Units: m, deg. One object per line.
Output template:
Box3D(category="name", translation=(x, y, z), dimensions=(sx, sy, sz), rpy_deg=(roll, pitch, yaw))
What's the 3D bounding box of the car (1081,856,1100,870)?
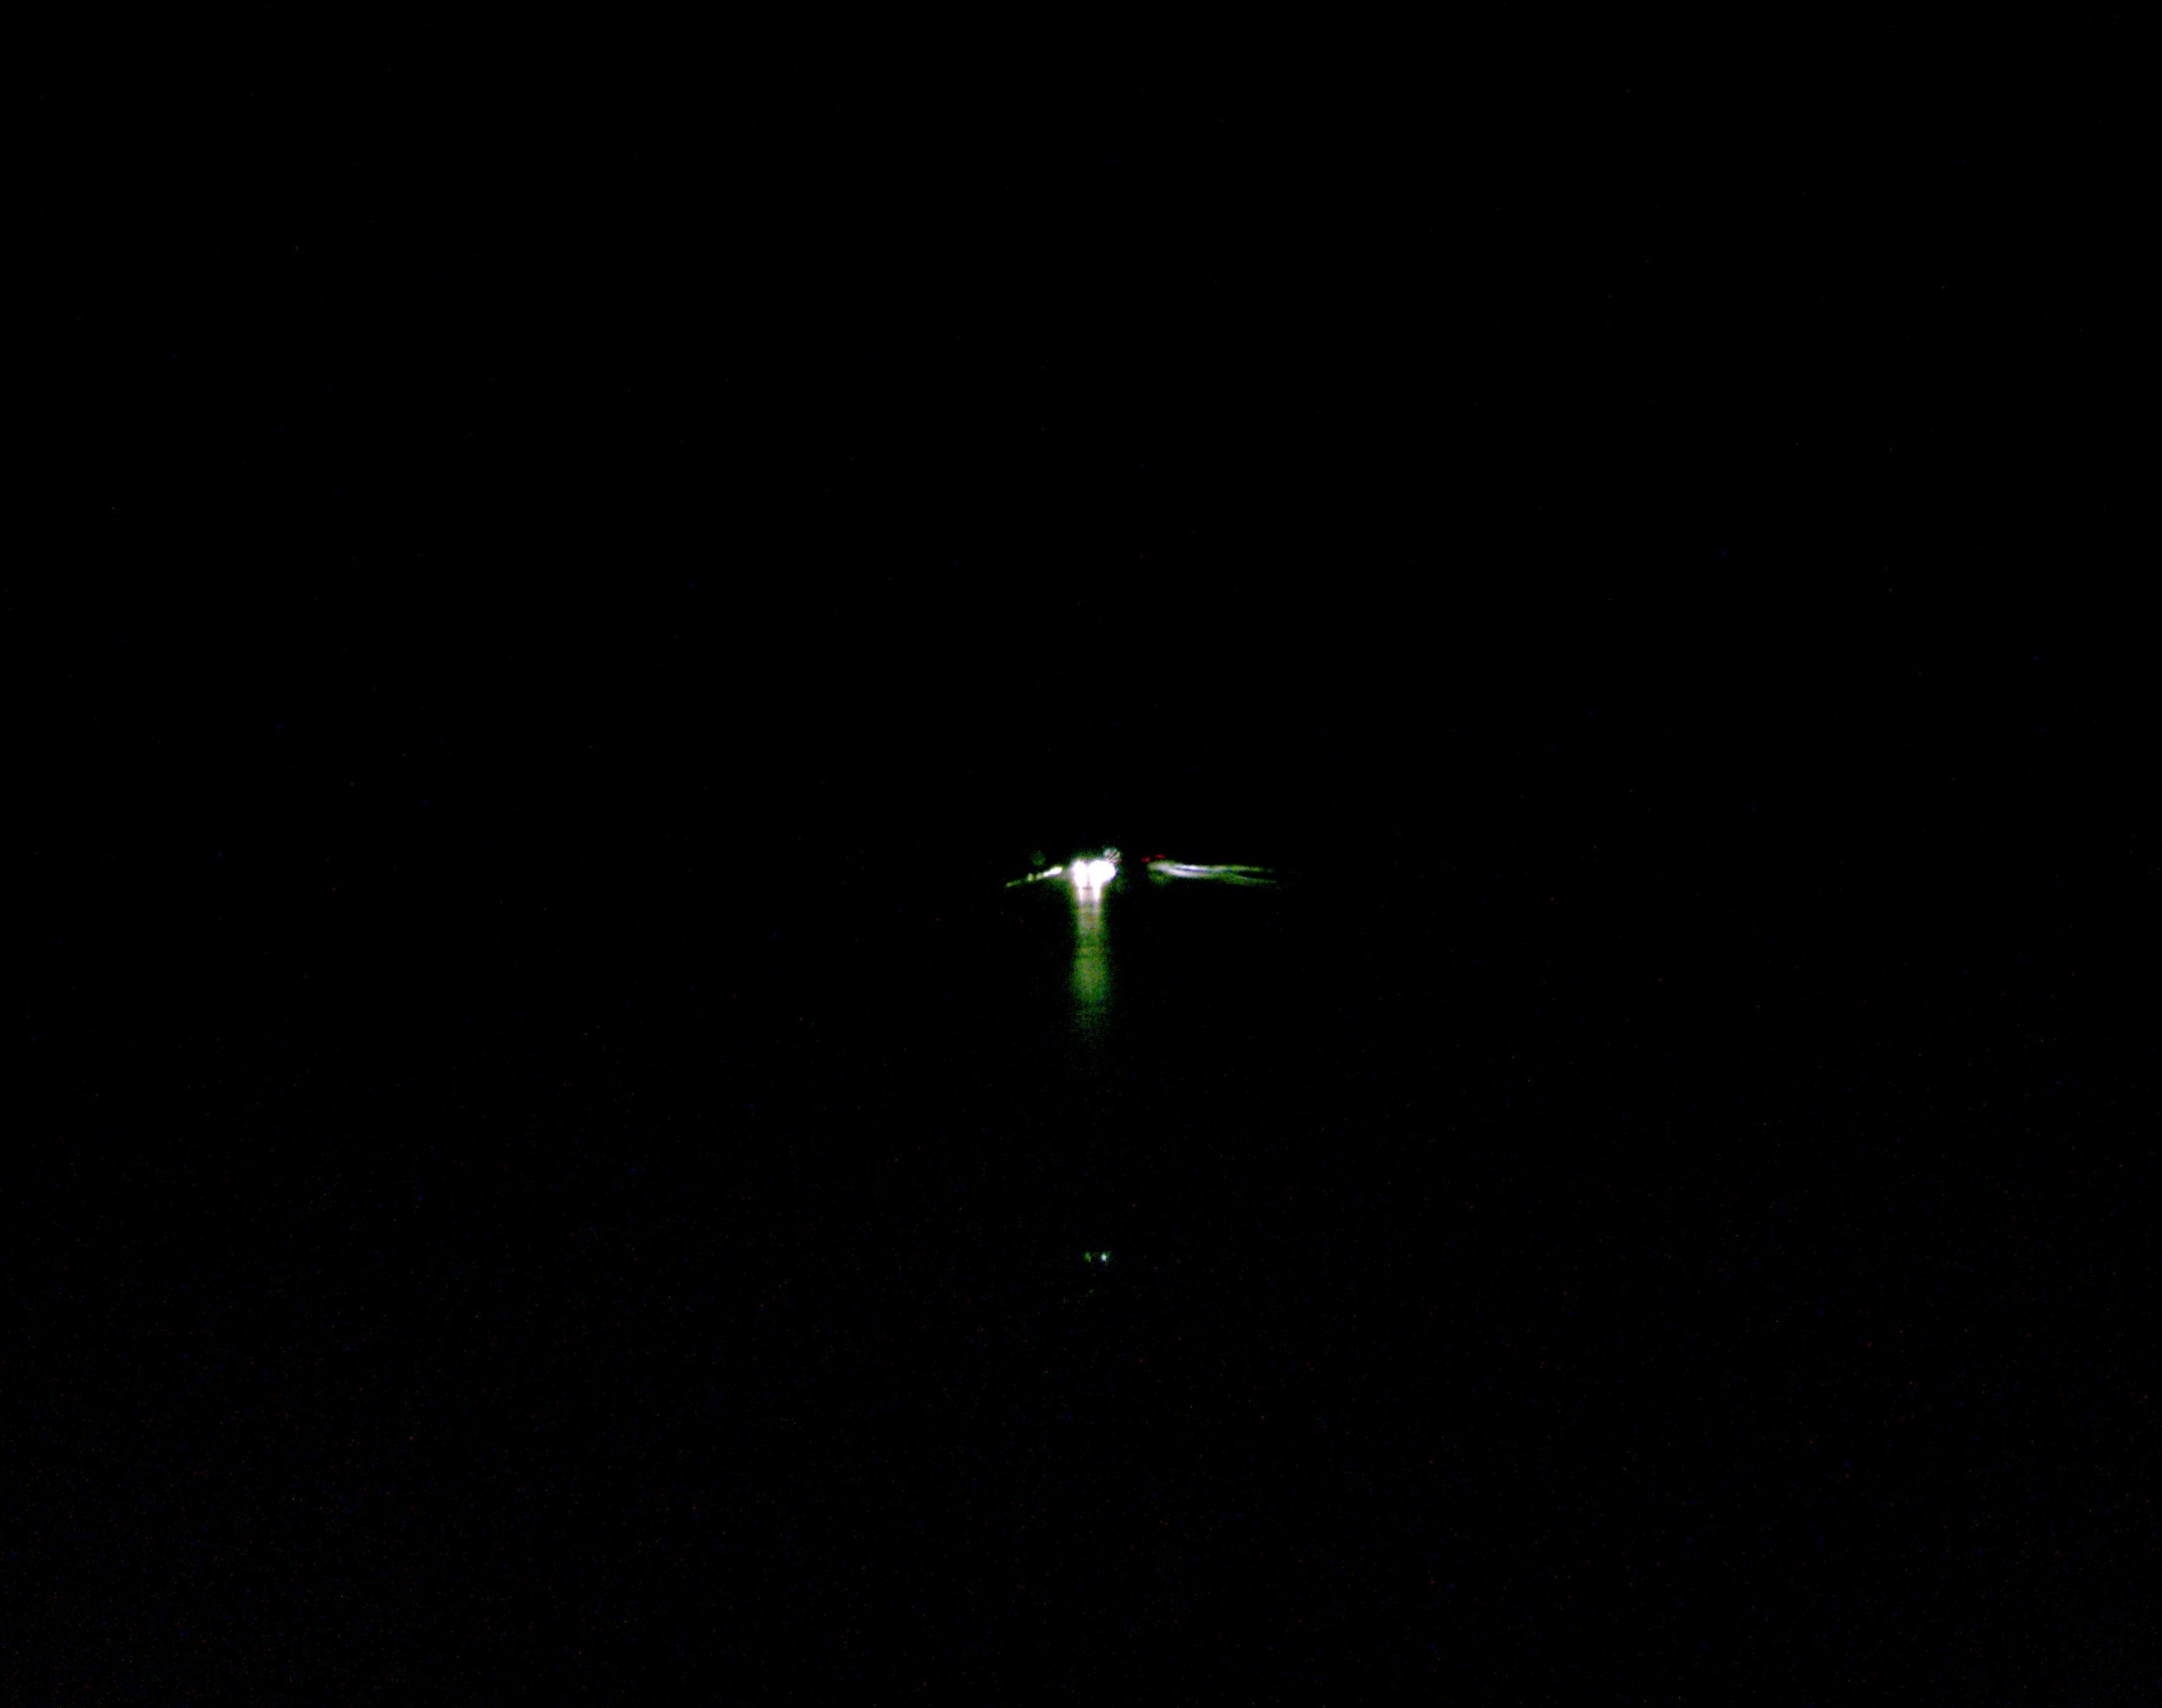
Box3D(category="car", translation=(1.085, 0.991, 83.312), dimensions=(1.807, 1.452, 4.277), rpy_deg=(-2, -1, 3))
